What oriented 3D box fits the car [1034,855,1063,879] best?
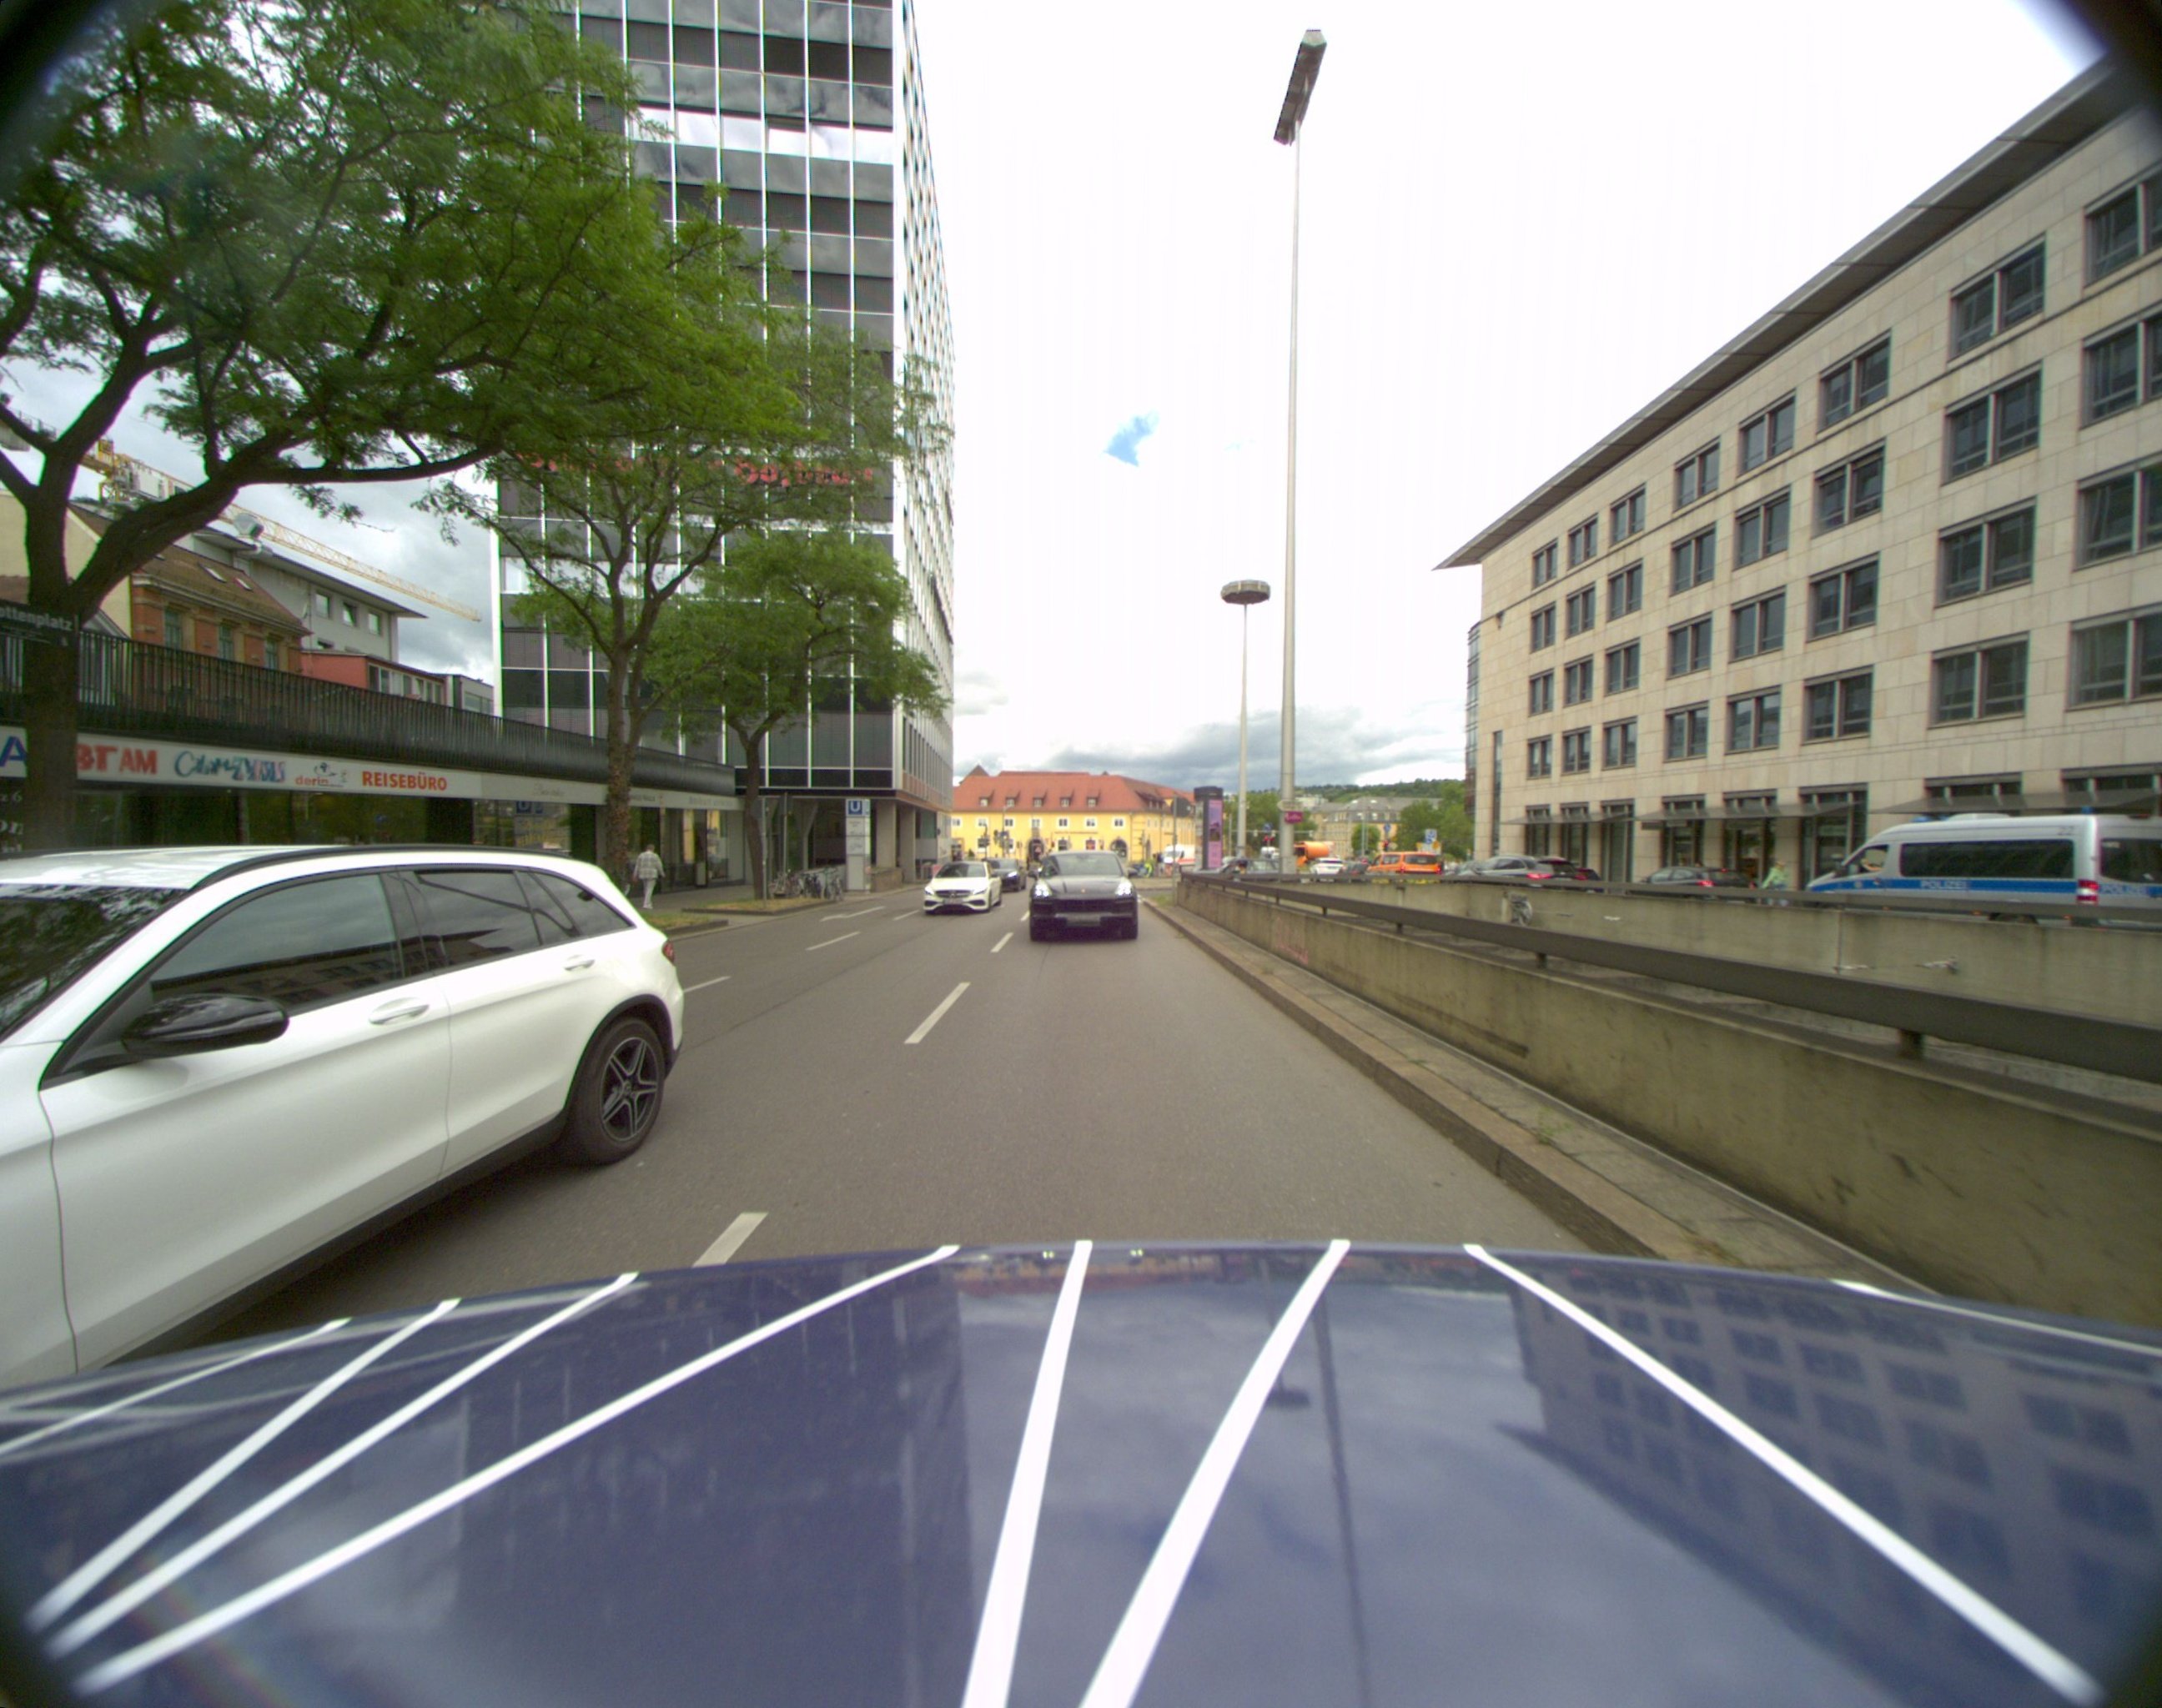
[{"bbox_3d":[-2.110,0.825,50.165,1.707,1.524,3.763,1,0,0],"label":"car"}]

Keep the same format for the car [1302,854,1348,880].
[{"bbox_3d":[16.346,0.843,51.177,1.739,1.589,4.318,1,1,1],"label":"car"}]

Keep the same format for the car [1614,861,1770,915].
[{"bbox_3d":[19.573,1.030,24.604,1.773,1.440,4.030,2,1,0],"label":"car"}]

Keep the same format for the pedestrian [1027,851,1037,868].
[{"bbox_3d":[-4.928,0.578,76.194,0.802,1.688,0.547,0,1,-18],"label":"pedestrian"}]

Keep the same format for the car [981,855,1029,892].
[{"bbox_3d":[-3.334,0.832,34.006,1.707,1.524,3.763,1,0,0],"label":"car"}]

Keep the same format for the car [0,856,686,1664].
[{"bbox_3d":[-3.216,0.886,2.319,1.807,1.637,4.333,2,1,-1],"label":"car"}]

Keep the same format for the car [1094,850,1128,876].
[{"bbox_3d":[2.523,0.721,62.949,1.857,1.977,4.646,2,2,14],"label":"car"}]

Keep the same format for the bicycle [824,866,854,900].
[{"bbox_3d":[-8.482,0.994,26.731,0.491,1.126,1.843,0,1,-1],"label":"bicycle"}]

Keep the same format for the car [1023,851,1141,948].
[{"bbox_3d":[0.155,0.784,15.440,2.004,1.628,5.022,-1,0,3],"label":"car"}]

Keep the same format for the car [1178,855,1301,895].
[{"bbox_3d":[6.117,0.792,29.695,4.559,1.450,1.882,0,1,8],"label":"car"}]

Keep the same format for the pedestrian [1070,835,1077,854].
[{"bbox_3d":[-0.798,-1.022,81.847,0.611,1.944,0.642,0,1,-20],"label":"pedestrian"}]

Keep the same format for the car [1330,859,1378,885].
[{"bbox_3d":[16.079,1.016,44.834,1.560,1.371,3.633,2,0,1],"label":"car"}]

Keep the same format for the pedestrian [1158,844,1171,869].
[{"bbox_3d":[6.228,0.186,56.706,0.717,1.780,0.634,4,0,0],"label":"pedestrian"}]

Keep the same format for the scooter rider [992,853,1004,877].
[{"bbox_3d":[-6.105,0.810,56.153,0.594,1.798,0.641,0,2,-41],"label":"scooter rider"}]

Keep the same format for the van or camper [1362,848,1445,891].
[{"bbox_3d":[15.934,0.705,37.864,1.918,1.910,5.083,2,1,0],"label":"van or camper"}]

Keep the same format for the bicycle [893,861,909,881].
[{"bbox_3d":[-9.975,0.926,42.075,0.715,1.042,1.483,0,1,-20],"label":"bicycle"}]

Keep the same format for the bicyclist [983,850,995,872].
[{"bbox_3d":[-6.687,0.510,55.000,0.566,1.541,0.844,0,2,-28],"label":"bicyclist"}]

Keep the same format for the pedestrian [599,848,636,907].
[{"bbox_3d":[-12.996,0.651,21.320,0.597,1.619,0.757,1,1,-5],"label":"pedestrian"}]

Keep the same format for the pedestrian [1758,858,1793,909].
[{"bbox_3d":[22.469,0.956,24.589,0.501,1.615,0.627,0,1,0],"label":"pedestrian"}]

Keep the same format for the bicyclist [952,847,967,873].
[{"bbox_3d":[-8.556,0.422,53.487,0.812,1.835,0.676,2,2,26],"label":"bicyclist"}]

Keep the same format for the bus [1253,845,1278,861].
[{"bbox_3d":[37.130,-0.233,152.395,3.428,3.185,13.082,0,0,20],"label":"bus"}]

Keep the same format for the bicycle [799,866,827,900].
[{"bbox_3d":[-9.458,0.991,26.820,0.491,1.126,1.886,0,1,-6],"label":"bicycle"}]

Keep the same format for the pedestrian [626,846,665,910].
[{"bbox_3d":[-12.190,0.650,21.278,0.597,1.744,0.940,1,1,-5],"label":"pedestrian"}]

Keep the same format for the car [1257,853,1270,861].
[{"bbox_3d":[33.520,0.455,139.536,1.824,1.400,4.006,1,1,22],"label":"car"}]

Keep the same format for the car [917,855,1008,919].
[{"bbox_3d":[-3.289,0.869,22.010,1.870,1.560,4.651,-2,0,0],"label":"car"}]

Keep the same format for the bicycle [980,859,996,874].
[{"bbox_3d":[-6.755,0.882,55.120,0.582,1.021,1.665,1,1,-28],"label":"bicycle"}]

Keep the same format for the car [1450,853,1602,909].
[{"bbox_3d":[13.405,0.742,23.271,1.923,1.518,4.541,0,0,-1],"label":"car"}]

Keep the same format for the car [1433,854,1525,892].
[{"bbox_3d":[19.335,0.856,37.199,1.998,1.636,4.682,2,1,0],"label":"car"}]

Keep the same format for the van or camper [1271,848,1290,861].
[{"bbox_3d":[36.692,0.078,139.466,2.369,2.249,6.299,2,1,24],"label":"van or camper"}]

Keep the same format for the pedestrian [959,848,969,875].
[{"bbox_3d":[-7.576,0.472,49.113,0.526,1.702,0.752,2,3,-5],"label":"pedestrian"}]

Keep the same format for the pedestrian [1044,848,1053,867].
[{"bbox_3d":[-3.274,0.348,76.789,0.670,1.852,0.701,0,1,-21],"label":"pedestrian"}]

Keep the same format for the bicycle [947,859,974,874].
[{"bbox_3d":[-8.460,0.860,53.453,1.763,1.001,0.682,2,-1,26],"label":"bicycle"}]

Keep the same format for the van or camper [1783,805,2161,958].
[{"bbox_3d":[19.794,0.483,16.676,3.009,2.710,6.245,0,0,0],"label":"van or camper"}]

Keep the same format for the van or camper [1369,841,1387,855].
[{"bbox_3d":[58.218,-1.188,149.061,2.143,2.463,6.166,5,2,12],"label":"van or camper"}]

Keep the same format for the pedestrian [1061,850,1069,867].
[{"bbox_3d":[-1.690,0.446,80.456,0.611,1.786,0.641,0,1,-23],"label":"pedestrian"}]

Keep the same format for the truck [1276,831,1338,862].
[{"bbox_3d":[28.102,-0.950,94.259,9.197,3.597,2.719,-1,5,-42],"label":"truck"}]

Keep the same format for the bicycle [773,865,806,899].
[{"bbox_3d":[-10.350,0.979,26.999,0.490,1.126,1.688,0,1,1],"label":"bicycle"}]

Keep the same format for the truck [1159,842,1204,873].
[{"bbox_3d":[9.700,0.343,73.067,1.951,2.768,5.801,2,1,32],"label":"truck"}]

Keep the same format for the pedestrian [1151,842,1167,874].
[{"bbox_3d":[5.407,0.289,52.633,0.879,2.160,0.761,0,1,-18],"label":"pedestrian"}]

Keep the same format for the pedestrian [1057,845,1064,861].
[{"bbox_3d":[-2.152,-0.064,79.615,0.611,1.686,0.641,0,1,-23],"label":"pedestrian"}]

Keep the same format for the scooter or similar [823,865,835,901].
[{"bbox_3d":[-9.006,1.030,27.156,0.307,1.244,0.995,0,1,-13],"label":"scooter or similar"}]
